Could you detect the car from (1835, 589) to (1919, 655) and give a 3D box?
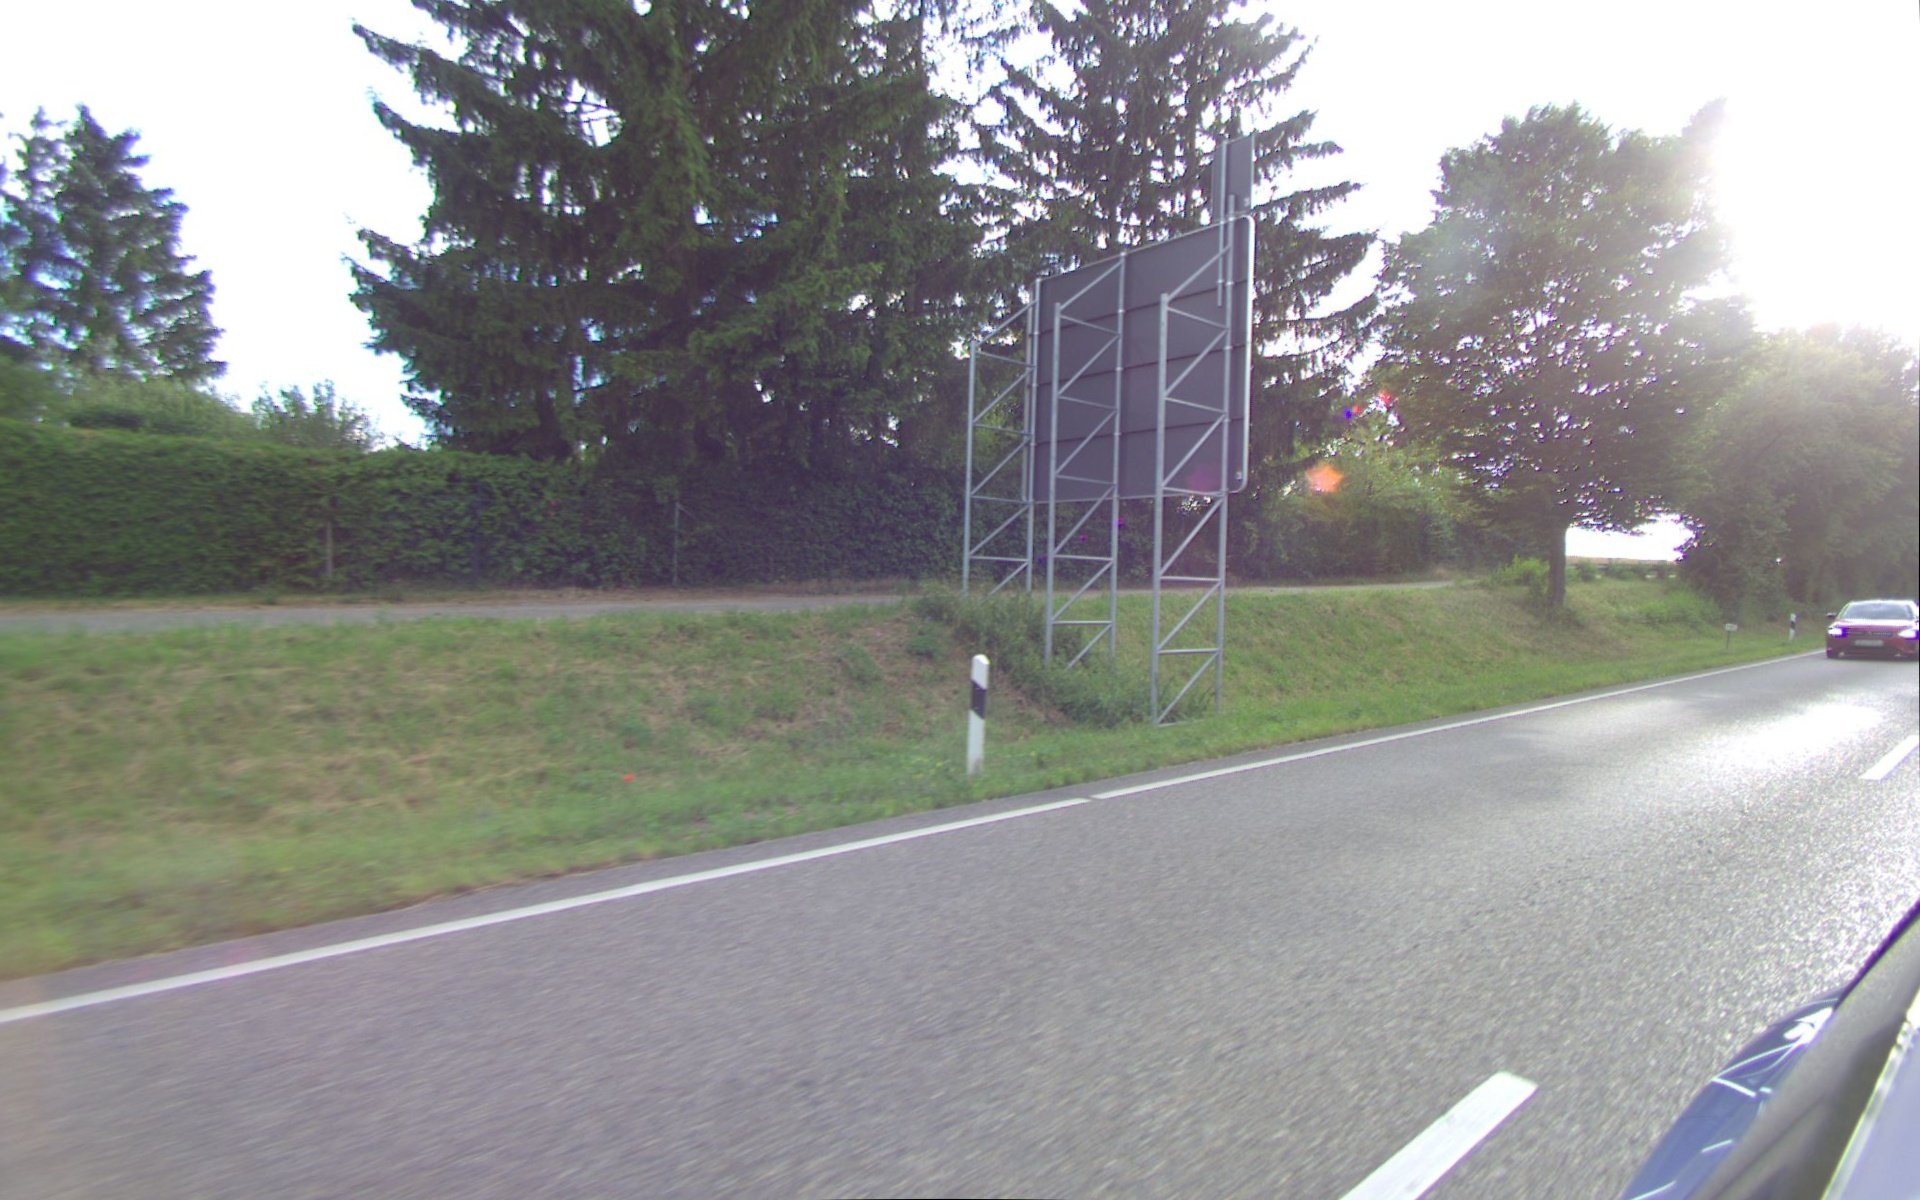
[{"bbox_3d":[22.935,0.518,24.767,3.661,1.494,1.723,1,0,-40],"label":"car"}]
